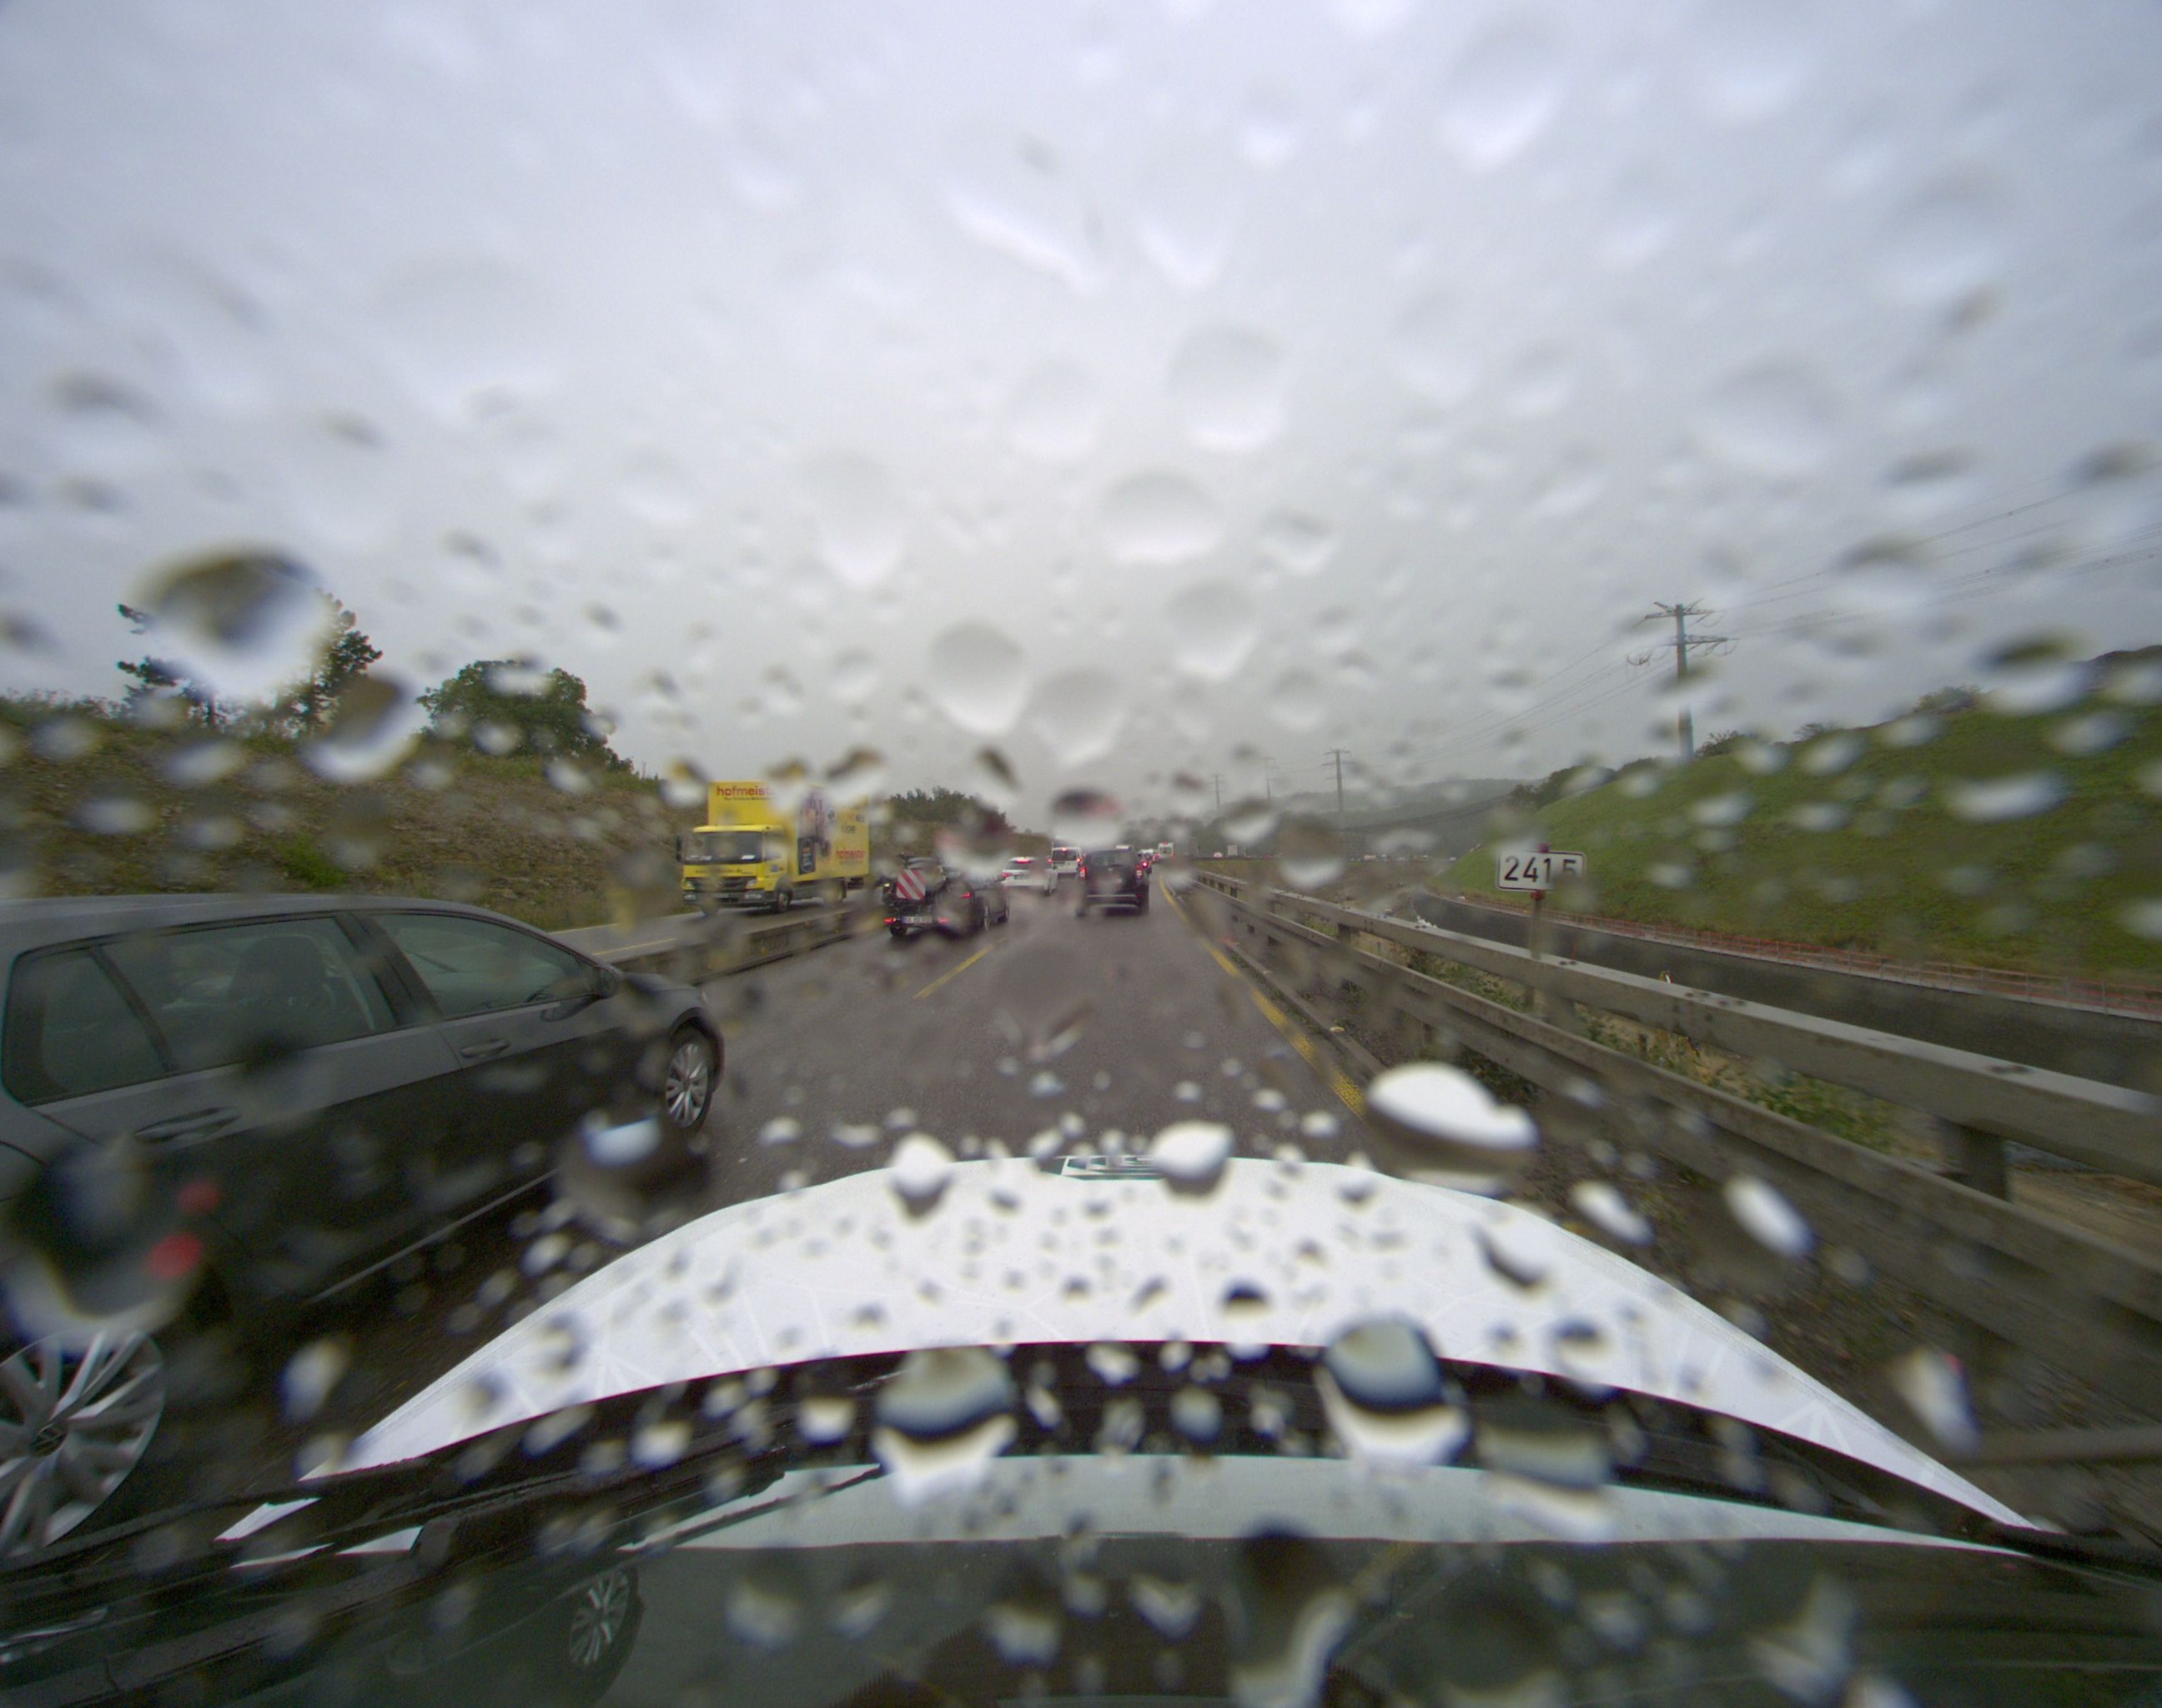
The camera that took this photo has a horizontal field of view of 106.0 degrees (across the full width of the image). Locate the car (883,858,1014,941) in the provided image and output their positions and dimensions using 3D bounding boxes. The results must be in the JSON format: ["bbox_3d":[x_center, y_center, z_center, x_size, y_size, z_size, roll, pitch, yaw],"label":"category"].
[{"bbox_3d":[-2.564,0.840,16.693,1.821,1.476,3.780,-1,0,4],"label":"car"}]

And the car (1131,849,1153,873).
[{"bbox_3d":[4.325,0.489,57.917,1.524,1.640,4.017,0,0,4],"label":"car"}]

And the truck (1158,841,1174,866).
[{"bbox_3d":[11.258,-0.106,107.964,2.139,3.166,6.469,0,0,6],"label":"truck"}]

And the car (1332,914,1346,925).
[{"bbox_3d":[51.537,13.064,162.800,1.983,1.816,4.007,-1,0,6],"label":"car"}]

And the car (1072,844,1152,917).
[{"bbox_3d":[0.858,0.608,20.565,1.796,1.646,3.781,-1,0,4],"label":"car"}]

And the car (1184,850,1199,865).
[{"bbox_3d":[13.950,0.423,102.701,1.765,1.916,4.009,0,0,7],"label":"car"}]

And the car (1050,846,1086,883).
[{"bbox_3d":[-0.648,0.536,43.204,1.653,1.880,4.023,0,0,3],"label":"car"}]

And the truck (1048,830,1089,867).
[{"bbox_3d":[-1.352,-0.588,97.310,2.917,4.097,14.418,0,0,7],"label":"truck"}]

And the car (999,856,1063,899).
[{"bbox_3d":[-1.784,0.812,30.312,1.860,1.460,4.552,0,0,3],"label":"car"}]

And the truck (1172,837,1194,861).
[{"bbox_3d":[16.598,-0.812,131.953,3.181,3.761,8.533,0,0,10],"label":"truck"}]

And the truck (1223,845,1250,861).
[{"bbox_3d":[41.439,-0.290,216.434,4.678,4.150,15.761,0,0,20],"label":"truck"}]

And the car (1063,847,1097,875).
[{"bbox_3d":[-0.021,0.424,53.023,1.859,1.708,4.096,0,0,4],"label":"car"}]

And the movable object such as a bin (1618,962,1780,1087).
[{"bbox_3d":[23.923,6.509,31.787,3.202,3.867,4.124,1,1,1],"label":"movable object such as a bin"}]

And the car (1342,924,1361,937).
[{"bbox_3d":[48.227,13.684,145.392,2.354,2.013,4.005,0,0,4],"label":"car"}]

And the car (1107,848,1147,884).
[{"bbox_3d":[2.264,0.552,40.308,1.860,1.708,4.004,0,0,3],"label":"car"}]

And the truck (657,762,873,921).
[{"bbox_3d":[-9.133,-0.320,24.932,2.756,3.996,8.431,-1,0,4],"label":"truck"}]

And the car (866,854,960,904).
[{"bbox_3d":[-5.081,0.718,25.228,1.860,1.406,4.118,0,0,3],"label":"car"}]

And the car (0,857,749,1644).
[{"bbox_3d":[-2.911,0.814,2.810,1.608,1.506,4.369,-3,0,1],"label":"car"}]
